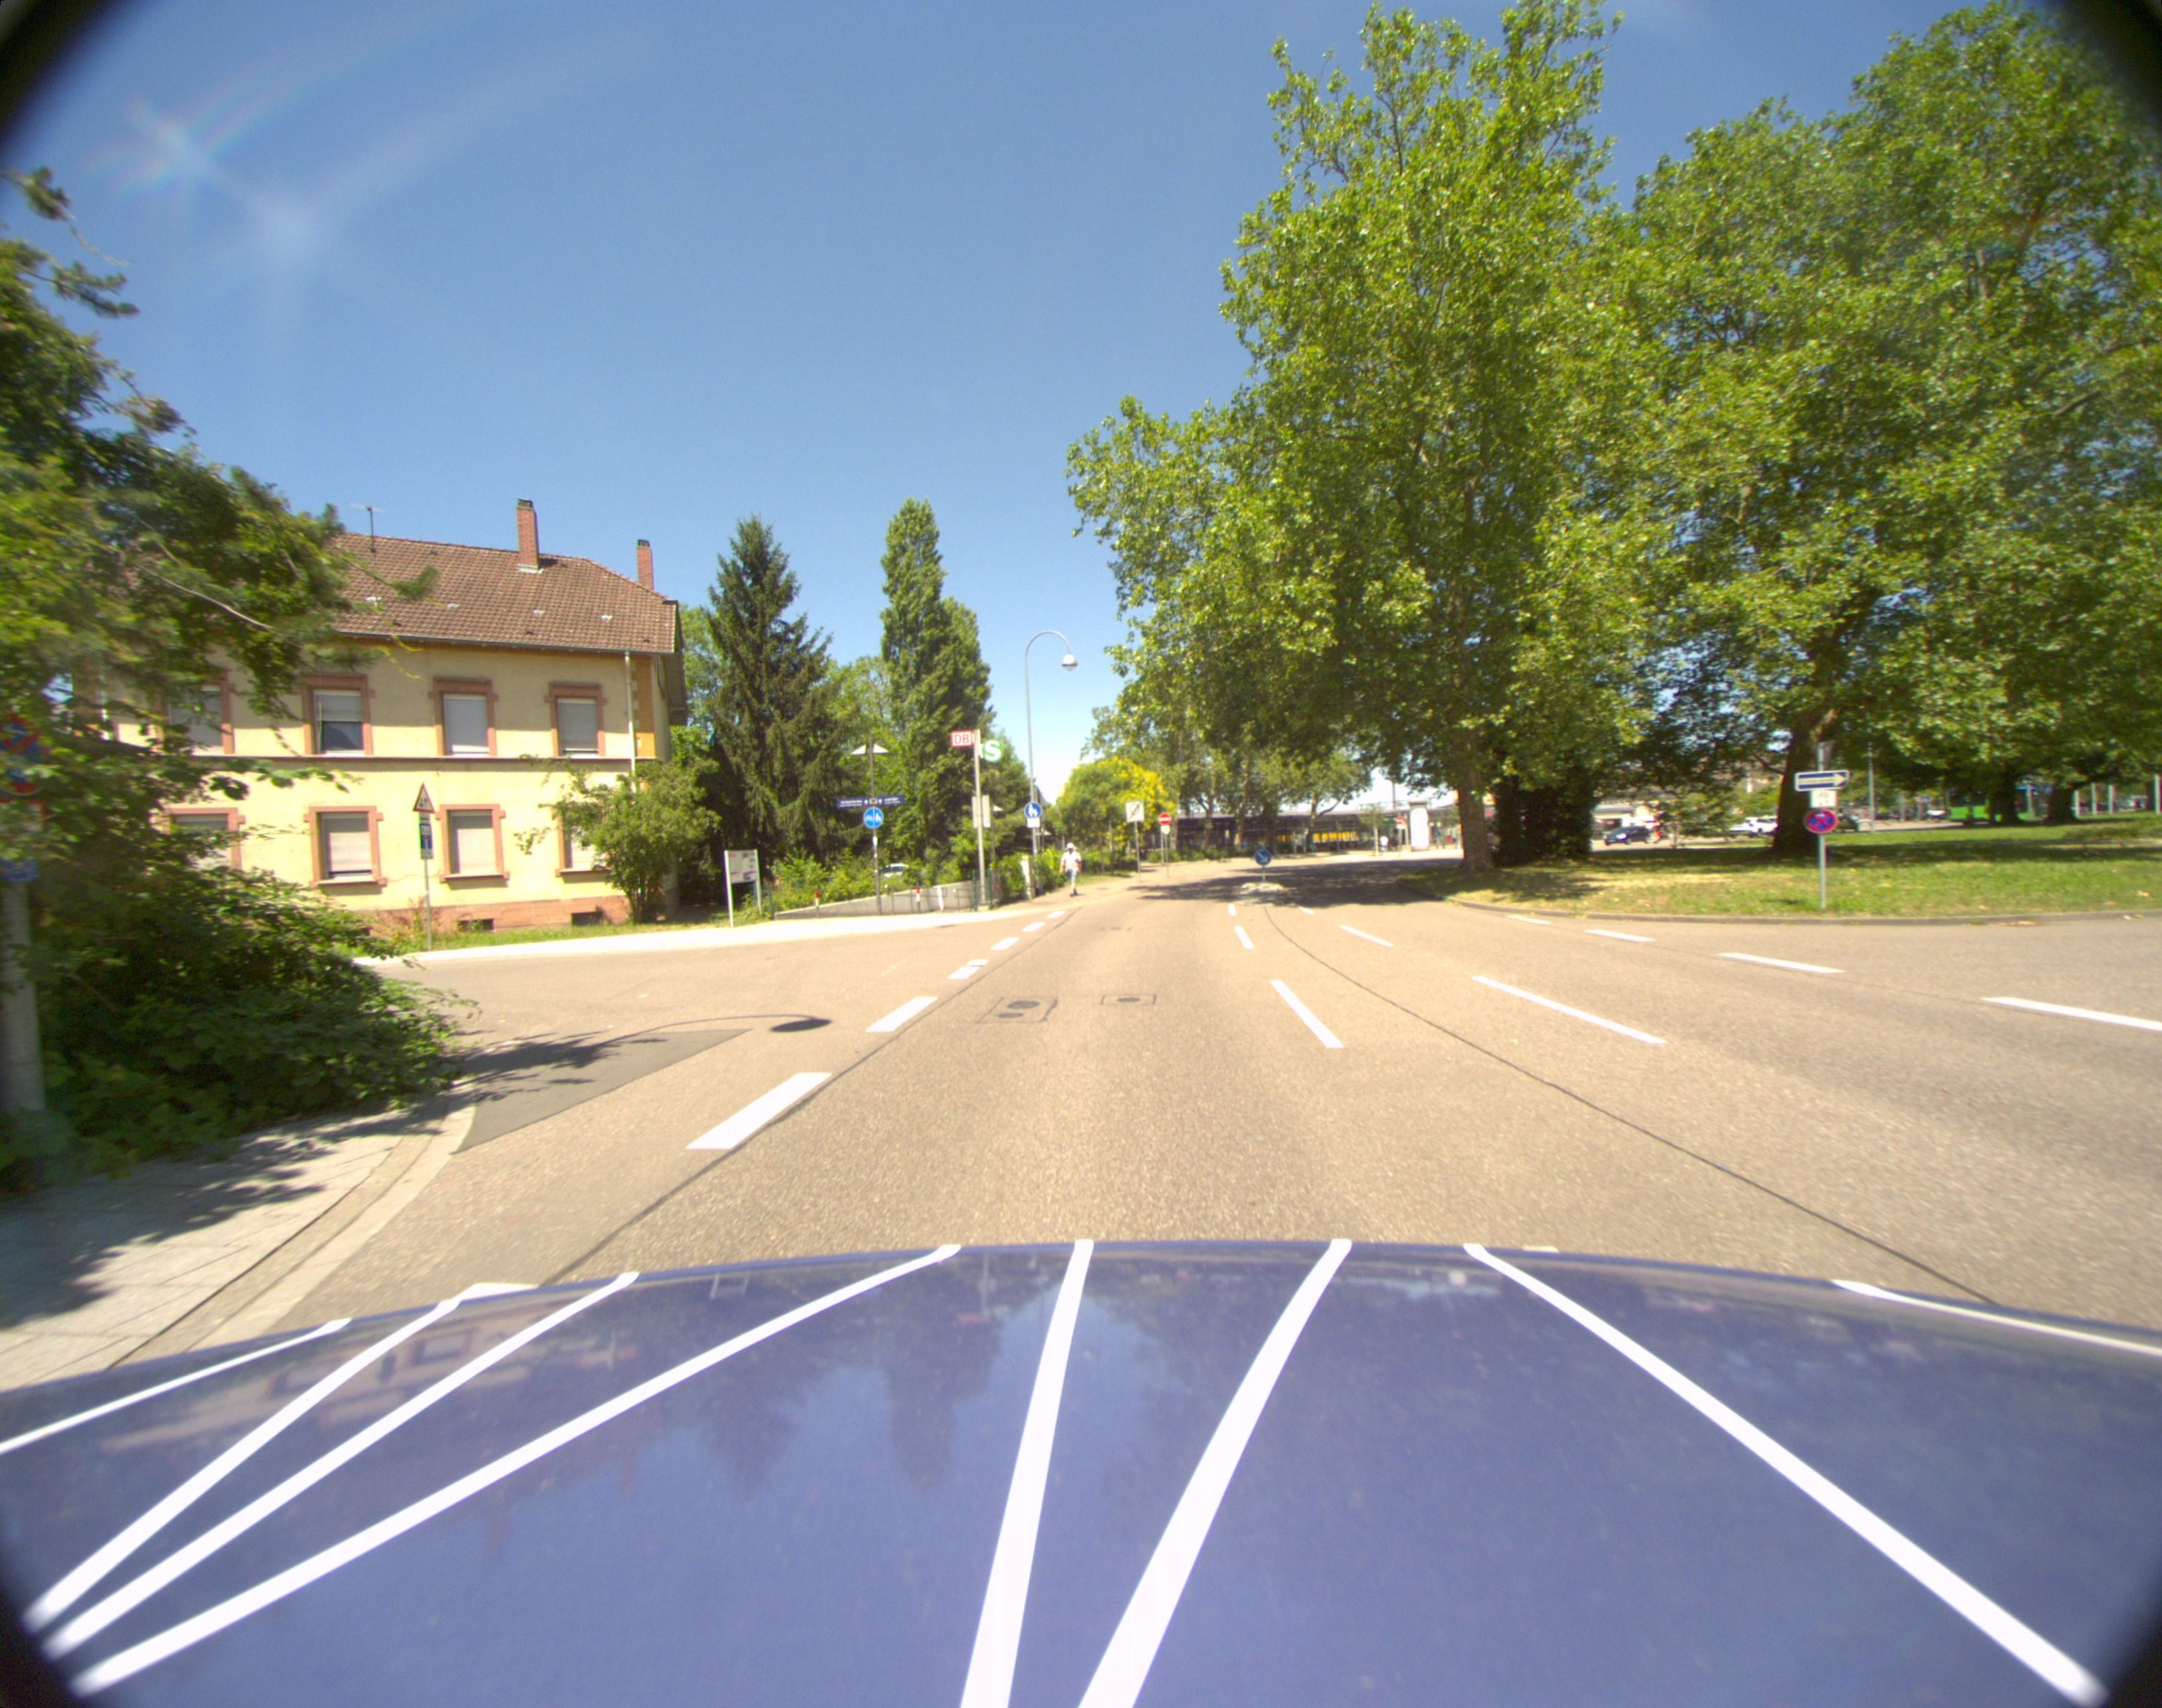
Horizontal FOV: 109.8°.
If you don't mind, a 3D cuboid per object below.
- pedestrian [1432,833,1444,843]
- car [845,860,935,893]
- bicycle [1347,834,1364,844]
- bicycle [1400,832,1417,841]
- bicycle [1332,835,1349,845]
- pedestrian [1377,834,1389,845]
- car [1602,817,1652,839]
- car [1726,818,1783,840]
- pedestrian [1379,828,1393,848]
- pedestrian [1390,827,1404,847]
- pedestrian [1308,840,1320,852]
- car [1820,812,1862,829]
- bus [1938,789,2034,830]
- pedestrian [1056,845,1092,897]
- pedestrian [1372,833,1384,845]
[{"bbox_3d":[44.698,-2.002,95.100,0.832,1.297,0.961,-3,1,-24],"label":"pedestrian"},{"bbox_3d":[-10.482,1.221,41.804,4.505,1.491,1.767,-3,0,-25],"label":"car"},{"bbox_3d":[34.930,-1.893,96.657,2.171,1.068,0.669,-6,4,-21],"label":"bicycle"},{"bbox_3d":[43.888,-2.377,101.747,2.171,1.068,0.669,-6,4,-21],"label":"bicycle"},{"bbox_3d":[33.858,-1.797,99.195,2.171,1.068,0.669,-6,4,-21],"label":"bicycle"},{"bbox_3d":[36.290,-1.748,91.187,0.832,1.297,0.961,-3,1,-24],"label":"pedestrian"},{"bbox_3d":[43.007,-2.039,59.843,4.189,1.536,1.775,-3,2,-33],"label":"car"},{"bbox_3d":[54.310,-2.023,61.261,4.329,1.737,2.044,-2,1,-27],"label":"car"},{"bbox_3d":[27.859,-1.475,69.456,0.915,1.726,0.675,-3,1,-9],"label":"pedestrian"},{"bbox_3d":[28.894,-1.541,69.500,0.914,1.774,0.695,-3,0,-3],"label":"pedestrian"},{"bbox_3d":[26.508,-0.930,86.502,0.869,1.267,0.829,-3,1,-29],"label":"pedestrian"},{"bbox_3d":[66.795,-2.956,66.757,4.006,1.409,1.642,-2,1,-30],"label":"car"},{"bbox_3d":[83.632,-4.131,70.160,11.871,3.283,2.811,-3,0,-26],"label":"bus"},{"bbox_3d":[-0.232,0.576,26.139,0.913,1.762,0.917,0,2,25],"label":"pedestrian"},{"bbox_3d":[35.495,-1.761,90.755,0.832,1.378,0.961,-3,1,-24],"label":"pedestrian"}]
